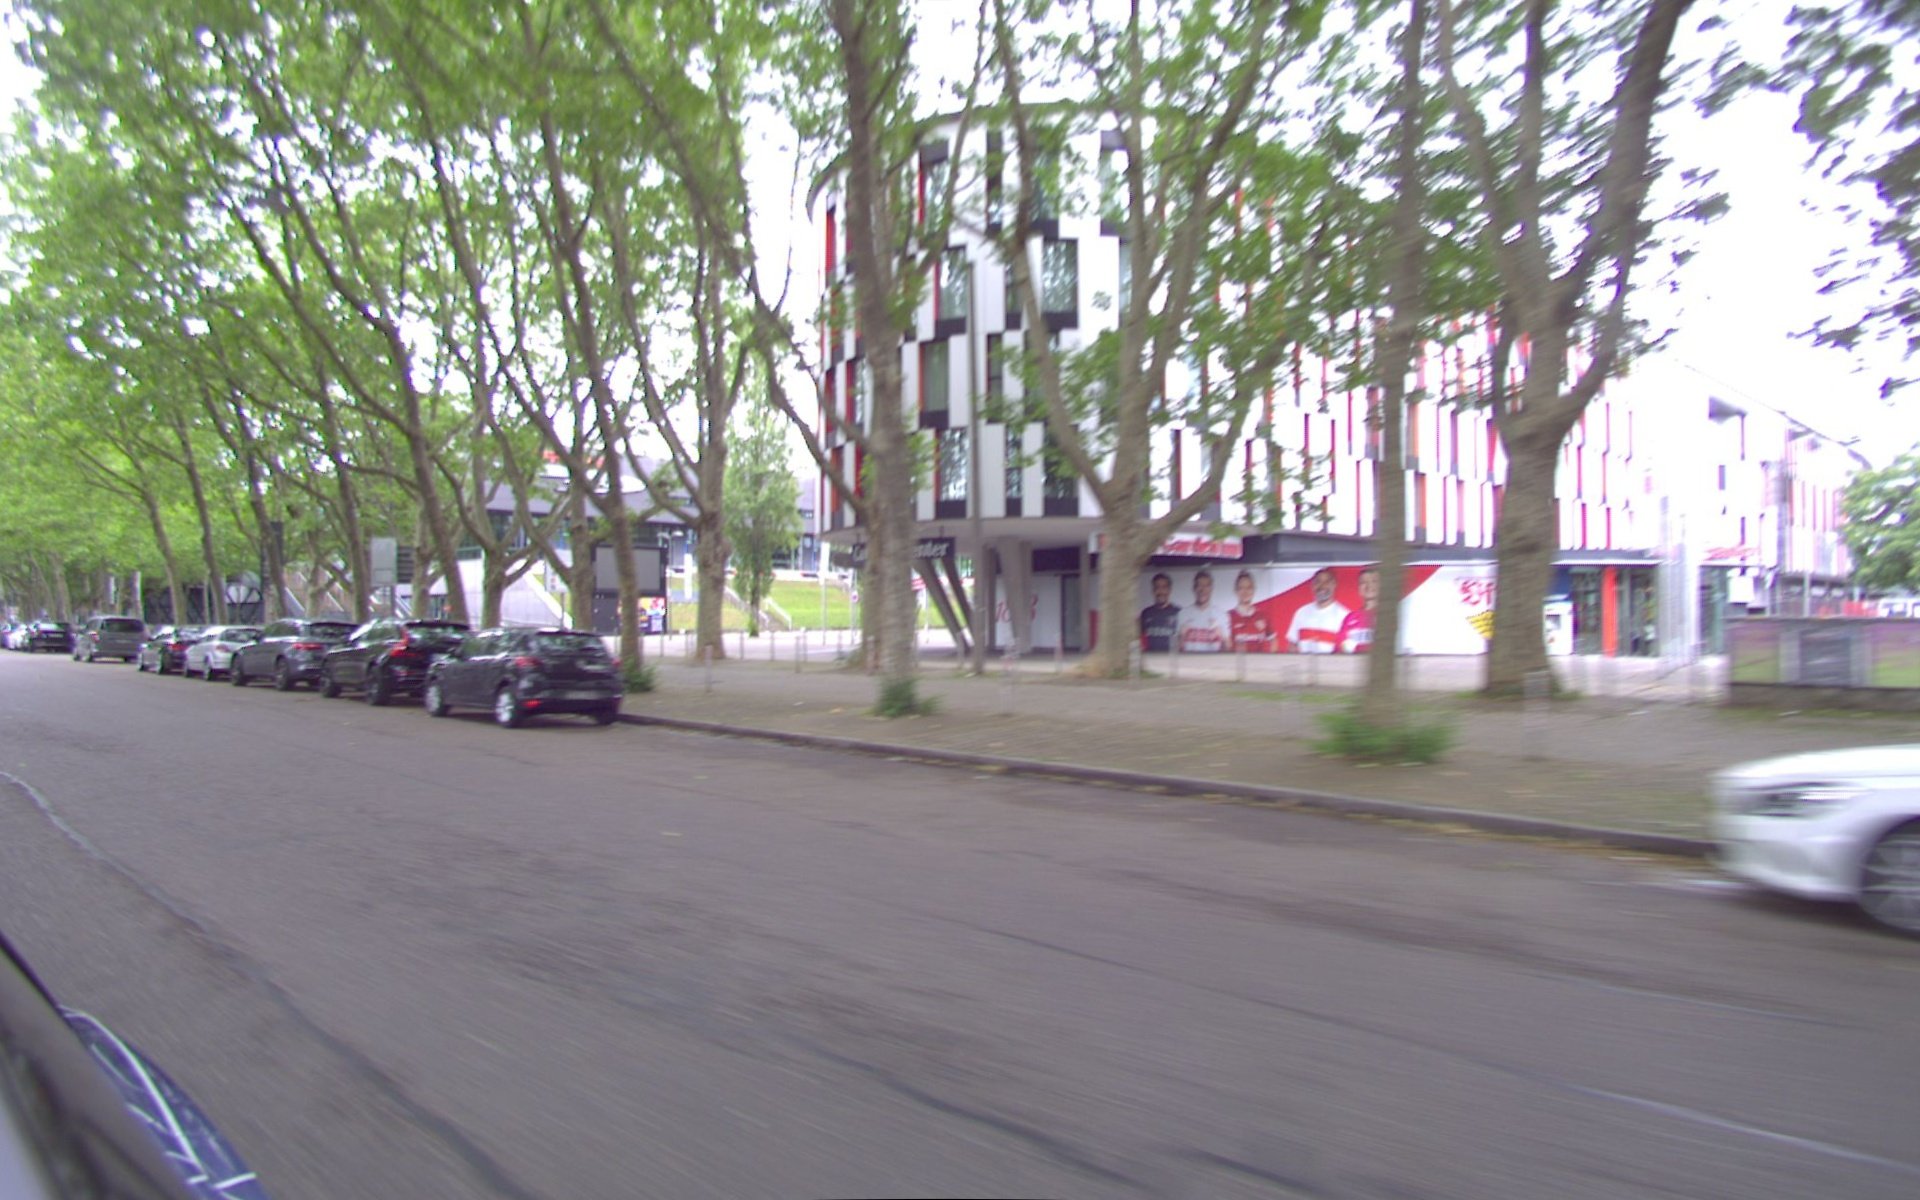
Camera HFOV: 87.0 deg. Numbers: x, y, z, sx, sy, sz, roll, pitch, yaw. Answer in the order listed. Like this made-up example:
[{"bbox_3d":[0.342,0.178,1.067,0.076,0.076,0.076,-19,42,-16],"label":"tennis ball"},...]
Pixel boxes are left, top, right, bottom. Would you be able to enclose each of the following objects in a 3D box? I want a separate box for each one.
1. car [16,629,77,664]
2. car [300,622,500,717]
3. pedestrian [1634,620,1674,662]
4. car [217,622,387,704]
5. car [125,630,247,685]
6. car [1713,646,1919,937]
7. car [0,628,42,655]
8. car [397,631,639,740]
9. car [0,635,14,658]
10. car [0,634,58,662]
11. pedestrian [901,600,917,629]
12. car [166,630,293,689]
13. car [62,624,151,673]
[{"bbox_3d":[-44.699,2.254,49.508,4.344,1.606,1.797,-2,-5,43],"label":"car"},{"bbox_3d":[-11.152,1.328,19.985,4.927,1.656,1.916,-2,-5,42],"label":"car"},{"bbox_3d":[25.359,1.489,36.983,1.109,1.473,1.034,-2,-2,38],"label":"pedestrian"},{"bbox_3d":[-15.365,1.426,23.548,4.642,1.731,1.851,-1,-4,38],"label":"car"},{"bbox_3d":[-23.576,1.704,30.759,5.144,1.542,2.061,-2,-3,42],"label":"car"},{"bbox_3d":[6.505,0.970,4.651,4.749,1.413,1.884,-1,-4,41],"label":"car"},{"bbox_3d":[-53.851,2.340,57.415,4.987,1.496,1.802,-2,-3,38],"label":"car"},{"bbox_3d":[-7.177,1.288,16.216,4.440,1.506,1.814,-2,-5,42],"label":"car"},{"bbox_3d":[-61.838,2.954,64.506,4.328,1.392,1.690,-2,-5,41],"label":"car"},{"bbox_3d":[-48.953,2.512,53.011,5.001,1.373,1.797,-2,-4,40],"label":"car"},{"bbox_3d":[-3.042,0.866,60.511,0.693,1.703,0.636,-2,-2,43],"label":"pedestrian"},{"bbox_3d":[-19.786,1.600,27.358,4.228,1.467,1.814,-2,-5,41],"label":"car"},{"bbox_3d":[-33.513,1.904,39.695,4.609,1.809,1.876,-1,-4,41],"label":"car"}]
